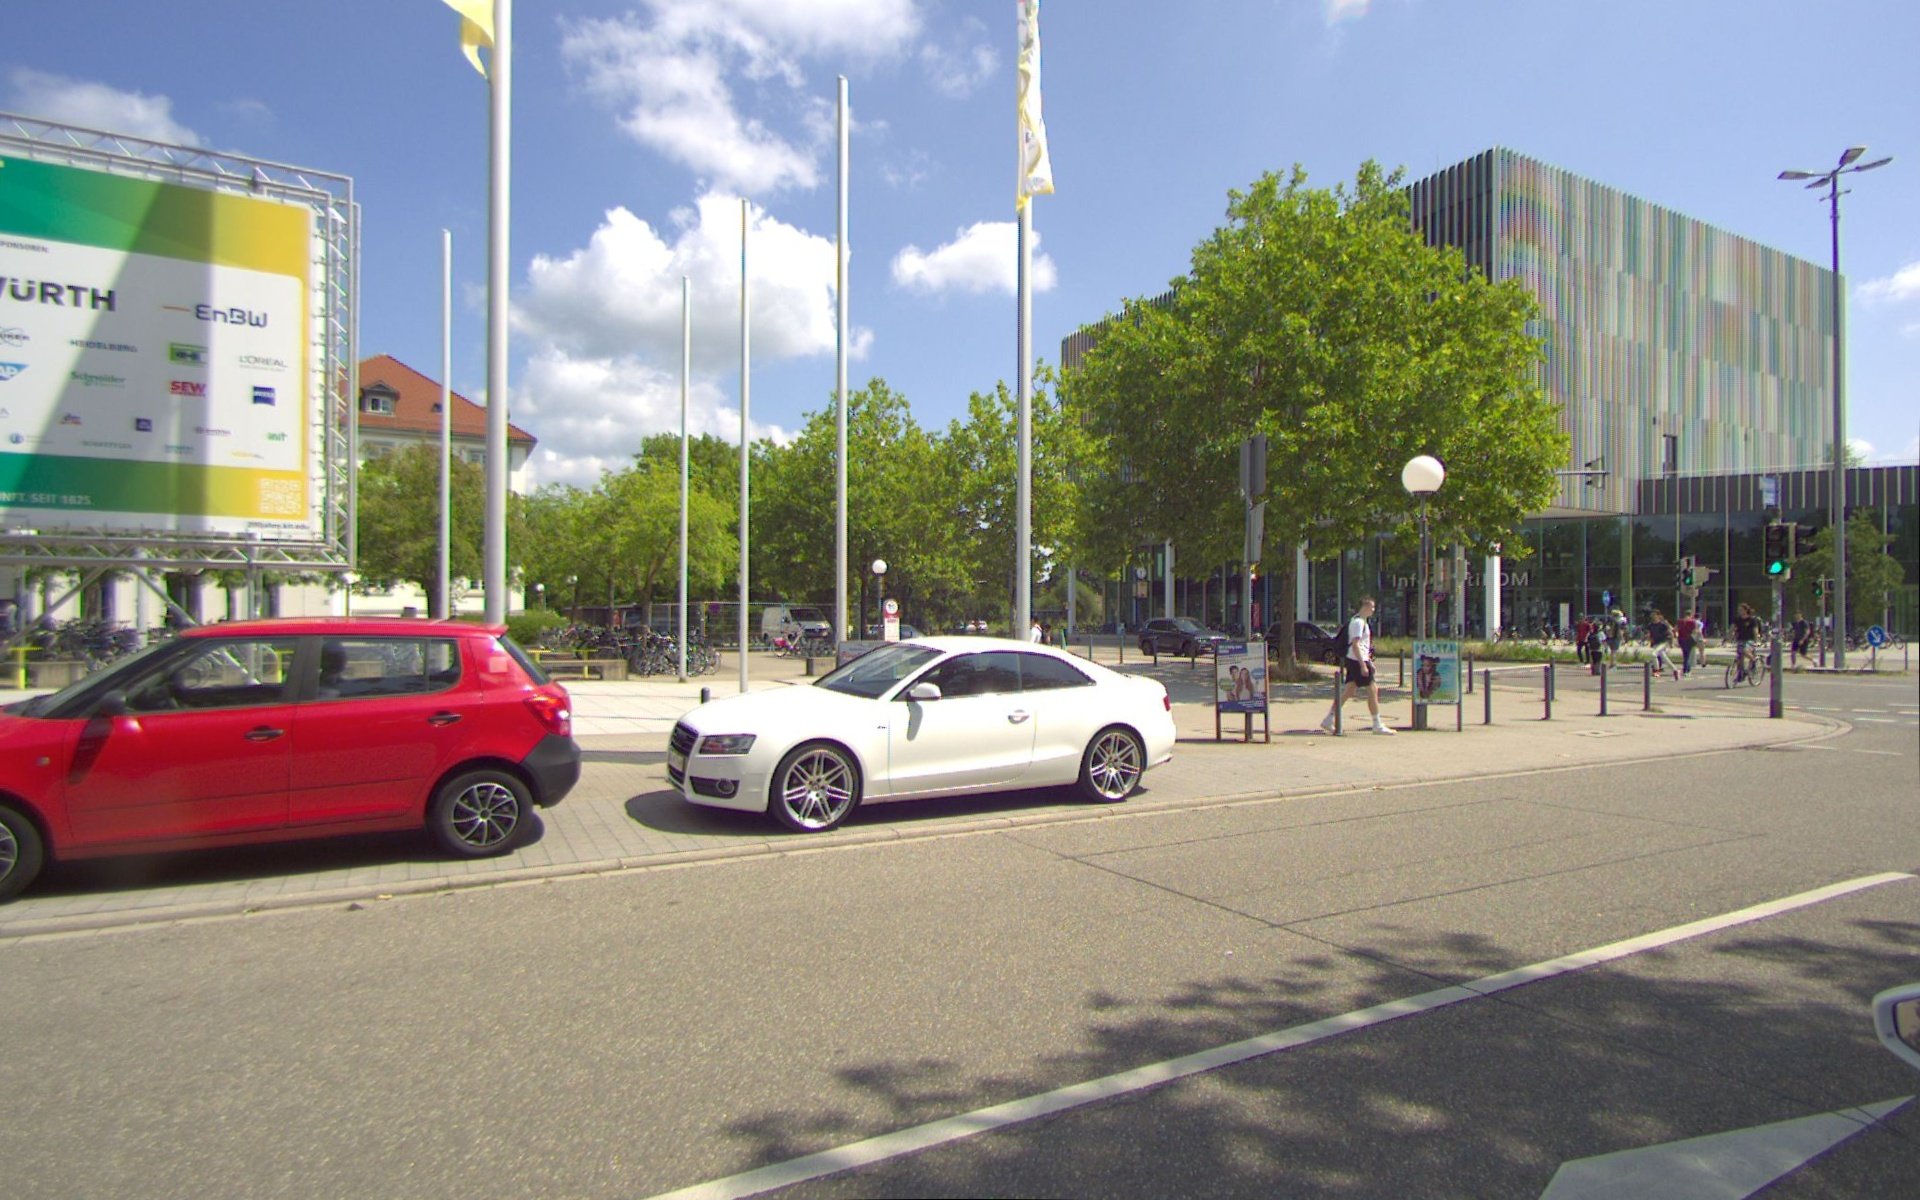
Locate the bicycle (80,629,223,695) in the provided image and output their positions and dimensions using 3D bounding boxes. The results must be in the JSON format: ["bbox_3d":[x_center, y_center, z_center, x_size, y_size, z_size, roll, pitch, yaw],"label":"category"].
[{"bbox_3d":[-15.835,1.188,19.741,2.069,1.232,0.646,1,-1,-29],"label":"bicycle"}]

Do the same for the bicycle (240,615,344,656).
[{"bbox_3d":[-23.819,1.272,35.912,2.907,1.430,1.060,1,-1,-21],"label":"bicycle"}]

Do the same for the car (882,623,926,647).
[{"bbox_3d":[-3.558,2.187,63.475,1.617,1.505,3.979,0,-2,-22],"label":"car"}]

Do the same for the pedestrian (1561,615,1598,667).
[{"bbox_3d":[20.408,1.346,33.095,0.746,1.700,0.750,0,-1,-29],"label":"pedestrian"}]

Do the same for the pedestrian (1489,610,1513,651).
[{"bbox_3d":[34.914,1.982,64.847,1.002,2.599,0.968,1,-1,-29],"label":"pedestrian"}]

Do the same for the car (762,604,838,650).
[{"bbox_3d":[-7.311,1.226,45.500,1.844,1.965,4.738,1,-2,-30],"label":"car"}]

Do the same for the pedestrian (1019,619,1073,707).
[{"bbox_3d":[1.677,1.215,19.726,0.736,1.673,0.840,1,-1,-27],"label":"pedestrian"}]

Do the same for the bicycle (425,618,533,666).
[{"bbox_3d":[-14.792,1.276,30.993,2.907,1.430,1.060,1,-1,-21],"label":"bicycle"}]

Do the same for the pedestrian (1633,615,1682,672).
[{"bbox_3d":[20.978,1.310,30.231,0.846,1.676,0.826,0,-1,-12],"label":"pedestrian"}]

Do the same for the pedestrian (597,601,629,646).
[{"bbox_3d":[-17.537,1.200,50.733,1.023,2.229,1.156,-1,-1,33],"label":"pedestrian"}]

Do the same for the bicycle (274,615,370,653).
[{"bbox_3d":[-24.282,1.299,38.297,2.907,1.430,1.060,1,-1,-21],"label":"bicycle"}]

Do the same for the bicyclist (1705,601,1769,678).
[{"bbox_3d":[18.814,0.948,24.333,0.984,1.841,0.789,0,-1,-19],"label":"bicyclist"}]

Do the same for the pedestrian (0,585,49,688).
[{"bbox_3d":[-18.538,0.705,19.611,0.934,1.966,0.980,1,-1,-32],"label":"pedestrian"}]

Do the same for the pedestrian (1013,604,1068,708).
[{"bbox_3d":[1.496,1.026,18.700,0.760,1.884,0.717,1,-1,-27],"label":"pedestrian"}]

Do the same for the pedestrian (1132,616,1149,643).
[{"bbox_3d":[14.701,2.406,81.768,1.002,2.231,0.968,1,-1,-29],"label":"pedestrian"}]

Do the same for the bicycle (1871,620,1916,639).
[{"bbox_3d":[80.578,2.524,86.730,2.908,1.595,1.118,1,-1,-2],"label":"bicycle"}]

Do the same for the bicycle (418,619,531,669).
[{"bbox_3d":[-14.407,1.309,29.928,2.907,1.430,1.060,1,-1,-21],"label":"bicycle"}]

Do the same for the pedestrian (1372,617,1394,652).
[{"bbox_3d":[28.968,2.333,68.807,1.002,2.377,0.968,1,-1,-29],"label":"pedestrian"}]

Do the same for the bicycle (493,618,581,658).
[{"bbox_3d":[-15.518,1.393,36.929,2.907,1.430,1.060,1,-1,-21],"label":"bicycle"}]

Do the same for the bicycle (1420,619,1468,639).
[{"bbox_3d":[32.440,1.951,67.357,1.005,1.253,2.904,1,-1,-29],"label":"bicycle"}]

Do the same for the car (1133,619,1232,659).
[{"bbox_3d":[9.761,1.690,44.433,1.632,1.683,4.792,1,-2,-27],"label":"car"}]

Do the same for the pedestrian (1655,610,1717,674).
[{"bbox_3d":[20.880,1.201,28.900,1.244,1.831,0.807,0,-1,-10],"label":"pedestrian"}]

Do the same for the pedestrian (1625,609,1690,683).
[{"bbox_3d":[18.547,1.208,26.715,1.377,1.880,0.702,-1,-1,-20],"label":"pedestrian"}]

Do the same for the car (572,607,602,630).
[{"bbox_3d":[-33.055,1.675,88.940,1.844,1.965,4.365,1,-2,-30],"label":"car"}]

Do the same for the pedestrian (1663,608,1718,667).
[{"bbox_3d":[23.033,1.169,31.687,1.075,1.843,0.863,0,-1,-5],"label":"pedestrian"}]

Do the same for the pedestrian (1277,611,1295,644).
[{"bbox_3d":[24.304,2.038,74.896,0.879,2.377,0.968,1,-1,-29],"label":"pedestrian"}]

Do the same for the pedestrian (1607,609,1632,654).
[{"bbox_3d":[38.673,1.841,58.899,0.956,2.599,1.015,1,0,19],"label":"pedestrian"}]

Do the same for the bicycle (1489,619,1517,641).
[{"bbox_3d":[31.006,1.696,57.373,1.178,1.253,2.949,0,-1,24],"label":"bicycle"}]

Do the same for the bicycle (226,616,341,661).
[{"bbox_3d":[-22.091,1.252,32.884,2.904,1.430,1.061,1,-1,-18],"label":"bicycle"}]

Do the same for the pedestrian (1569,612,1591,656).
[{"bbox_3d":[37.138,2.034,60.183,0.957,2.599,1.014,0,-1,25],"label":"pedestrian"}]

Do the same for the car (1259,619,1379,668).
[{"bbox_3d":[13.264,1.586,37.356,1.631,1.683,4.266,0,-1,-27],"label":"car"}]

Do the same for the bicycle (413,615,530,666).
[{"bbox_3d":[-13.981,1.157,28.861,2.907,1.430,1.060,1,-1,-21],"label":"bicycle"}]

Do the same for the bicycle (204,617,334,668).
[{"bbox_3d":[-20.038,1.226,29.205,2.904,1.430,1.061,1,-1,-18],"label":"bicycle"}]

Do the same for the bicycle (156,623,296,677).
[{"bbox_3d":[-20.245,1.374,27.768,2.896,1.430,1.147,1,-1,-7],"label":"bicycle"}]

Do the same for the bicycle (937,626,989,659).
[{"bbox_3d":[0.073,1.526,36.397,0.657,1.128,2.596,1,-1,-30],"label":"bicycle"}]

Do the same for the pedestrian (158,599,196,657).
[{"bbox_3d":[-31.009,1.111,39.820,1.029,2.229,1.016,1,-1,-30],"label":"pedestrian"}]

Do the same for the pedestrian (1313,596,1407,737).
[{"bbox_3d":[5.569,0.886,13.972,1.070,1.875,0.720,1,0,34],"label":"pedestrian"}]

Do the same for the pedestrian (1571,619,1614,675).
[{"bbox_3d":[18.697,1.371,29.680,0.788,1.619,0.768,0,-1,-27],"label":"pedestrian"}]

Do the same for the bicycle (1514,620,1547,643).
[{"bbox_3d":[32.222,1.752,56.796,1.352,1.253,2.949,0,-1,24],"label":"bicycle"}]

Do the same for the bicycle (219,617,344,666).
[{"bbox_3d":[-20.401,1.237,30.283,2.904,1.430,1.061,1,-1,-18],"label":"bicycle"}]

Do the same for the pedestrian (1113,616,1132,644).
[{"bbox_3d":[13.102,2.394,80.916,1.114,2.205,0.968,1,-1,-29],"label":"pedestrian"}]

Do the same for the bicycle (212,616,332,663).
[{"bbox_3d":[-21.749,1.241,31.827,2.904,1.430,1.061,1,-1,-18],"label":"bicycle"}]

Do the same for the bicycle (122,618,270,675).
[{"bbox_3d":[-20.151,1.215,26.575,2.896,1.430,1.147,1,-1,-7],"label":"bicycle"}]

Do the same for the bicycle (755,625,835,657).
[{"bbox_3d":[-6.307,1.563,38.560,2.924,1.165,0.991,1,-1,-37],"label":"bicycle"}]

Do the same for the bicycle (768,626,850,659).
[{"bbox_3d":[-5.621,1.571,37.611,2.923,1.152,0.991,1,-1,-37],"label":"bicycle"}]

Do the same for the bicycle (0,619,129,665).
[{"bbox_3d":[-28.945,1.360,32.496,2.907,1.430,1.142,1,-1,-21],"label":"bicycle"}]

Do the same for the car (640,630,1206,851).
[{"bbox_3d":[-0.214,1.008,8.625,4.604,1.414,1.669,1,1,-29],"label":"car"}]

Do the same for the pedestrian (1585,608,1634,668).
[{"bbox_3d":[20.669,1.198,31.964,0.988,1.901,0.854,0,-1,-10],"label":"pedestrian"}]

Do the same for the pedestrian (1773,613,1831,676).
[{"bbox_3d":[25.805,1.355,30.803,1.064,1.895,0.832,0,-1,-5],"label":"pedestrian"}]

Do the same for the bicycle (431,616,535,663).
[{"bbox_3d":[-15.182,1.248,32.071,2.907,1.430,1.060,1,-1,-21],"label":"bicycle"}]

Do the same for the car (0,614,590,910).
[{"bbox_3d":[-4.531,0.871,6.437,3.862,1.487,1.669,1,1,-29],"label":"car"}]
